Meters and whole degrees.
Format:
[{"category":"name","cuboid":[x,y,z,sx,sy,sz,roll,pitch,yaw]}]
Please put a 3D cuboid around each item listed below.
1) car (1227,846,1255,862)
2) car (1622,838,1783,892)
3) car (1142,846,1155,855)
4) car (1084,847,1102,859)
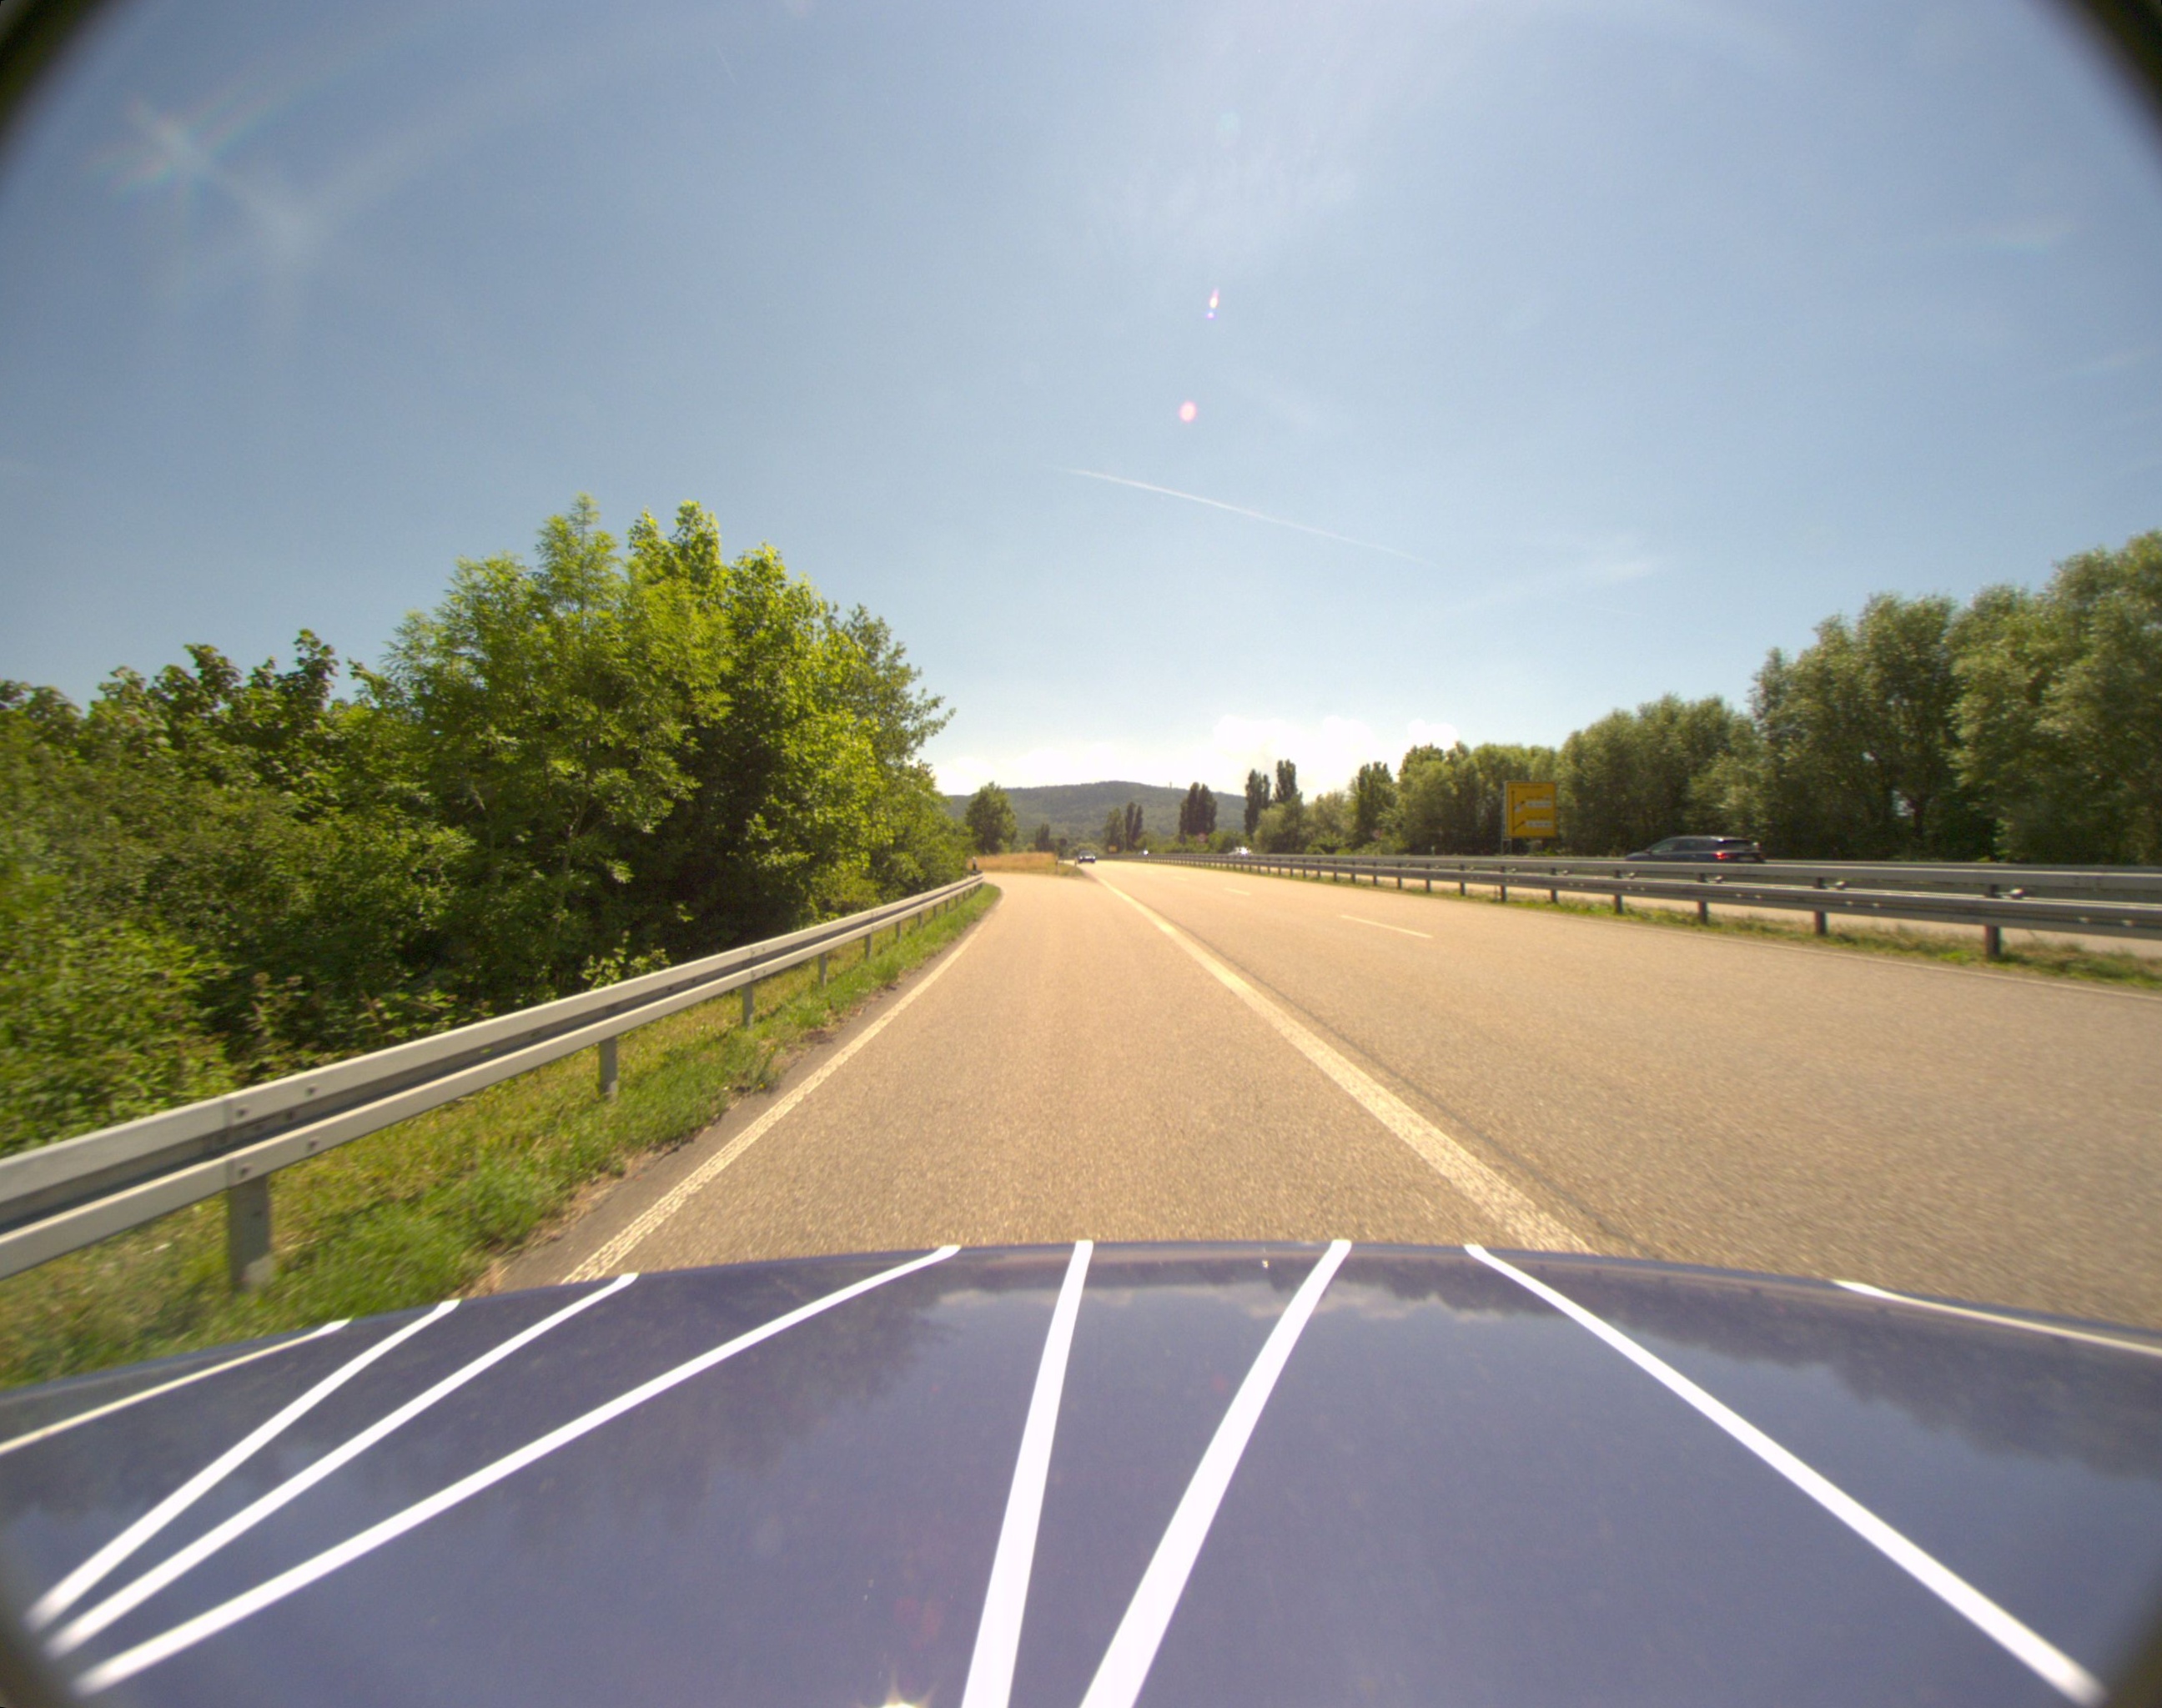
[{"category":"car","cuboid":[15.773,-0.040,75.015,1.714,1.495,3.998,-2,1,-3]},{"category":"car","cuboid":[19.664,0.299,24.297,1.693,1.543,4.073,-1,1,-3]},{"category":"car","cuboid":[11.693,-0.626,132.071,1.786,1.510,3.702,-2,1,-4]},{"category":"car","cuboid":[1.421,-0.093,90.148,1.909,1.368,3.890,-1,0,-3]}]
